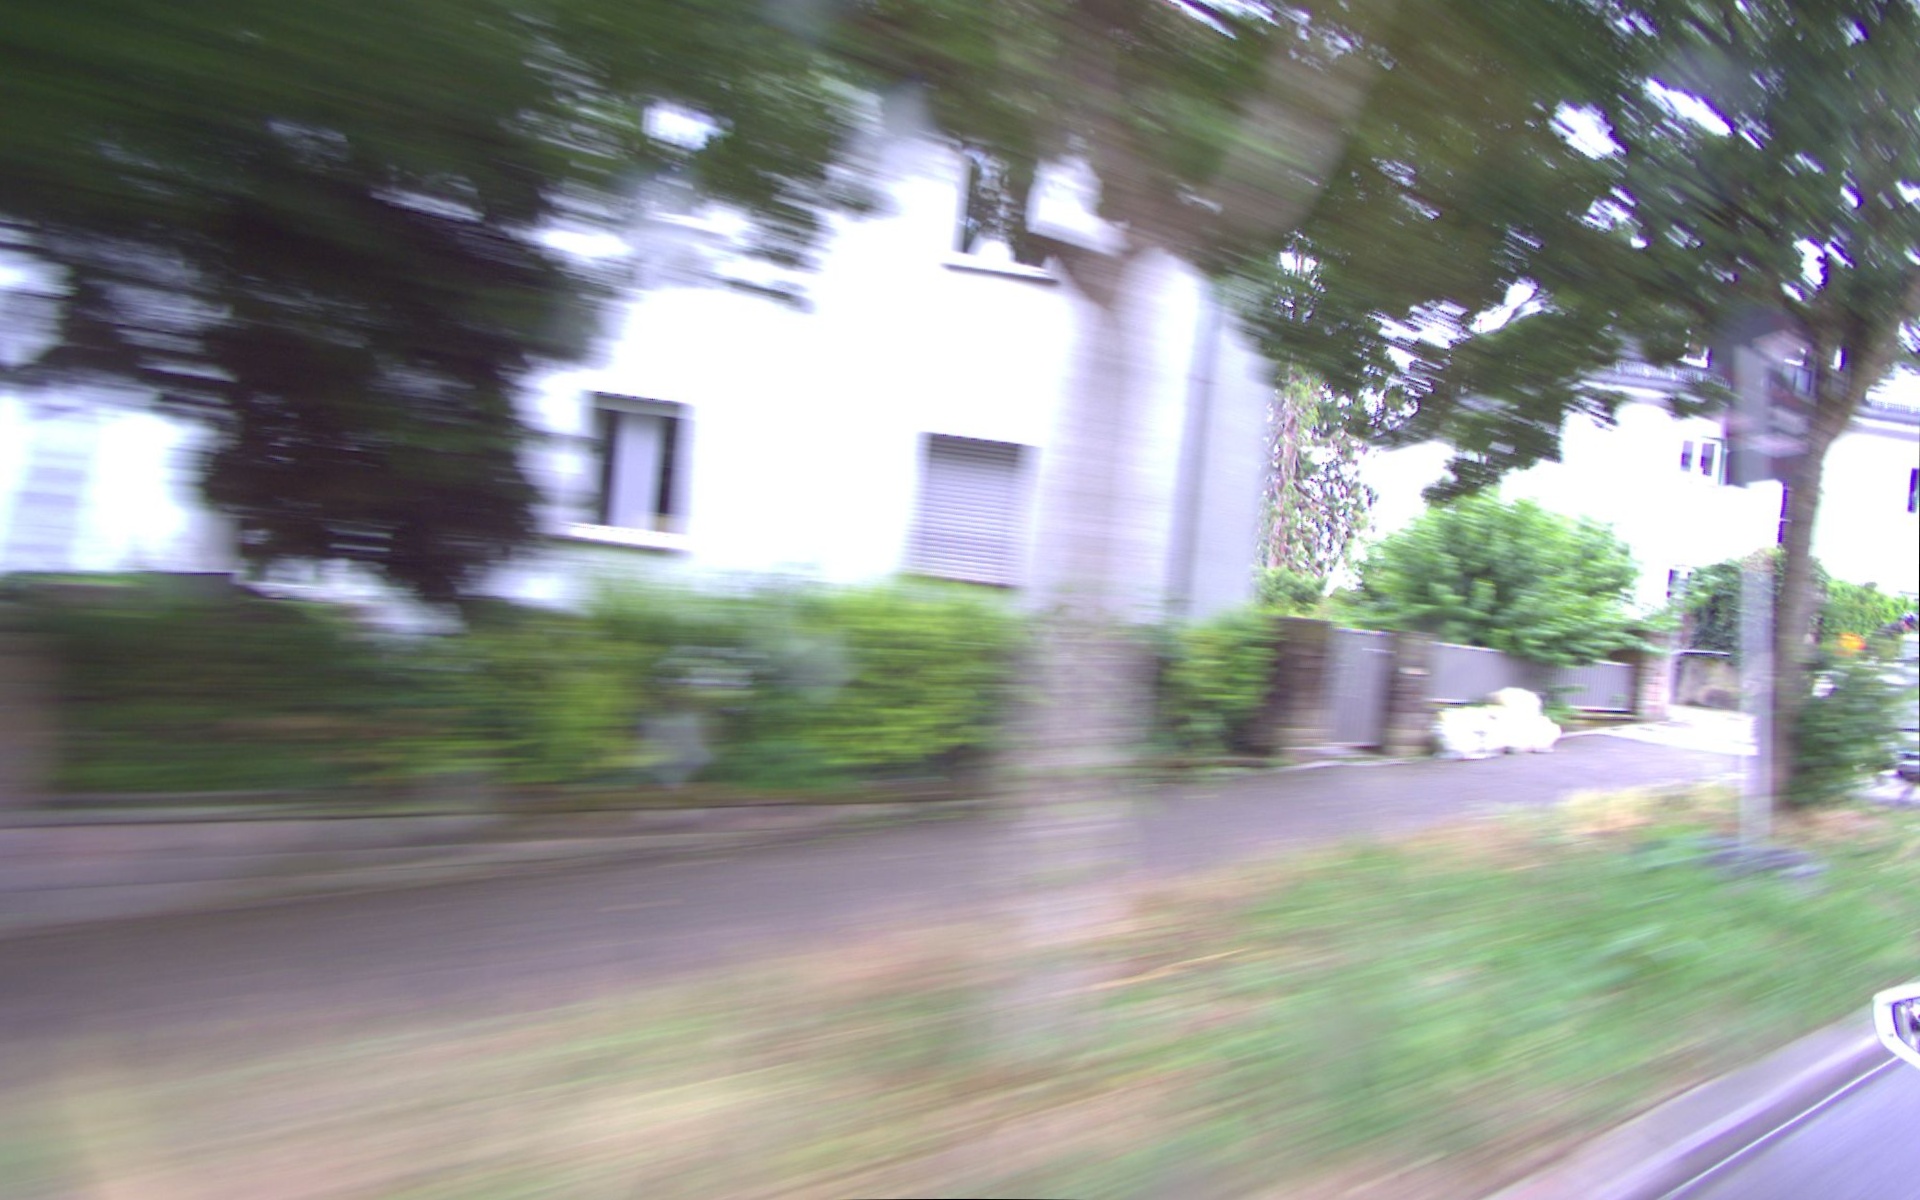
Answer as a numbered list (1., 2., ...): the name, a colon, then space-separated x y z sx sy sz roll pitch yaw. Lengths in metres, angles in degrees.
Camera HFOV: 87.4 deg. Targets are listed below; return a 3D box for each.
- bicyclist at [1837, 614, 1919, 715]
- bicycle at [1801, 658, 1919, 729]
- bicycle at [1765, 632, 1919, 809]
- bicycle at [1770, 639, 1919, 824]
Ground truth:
1. bicyclist: 14.308 0.980 15.408 1.083 1.458 0.903 3 0 -26
2. bicycle: 14.292 1.427 15.402 1.083 0.944 1.865 3 0 -26
3. bicycle: 8.130 1.008 8.264 0.803 1.380 2.210 3 0 -40
4. bicycle: 7.604 1.062 8.001 0.415 1.364 1.676 0 3 -39
